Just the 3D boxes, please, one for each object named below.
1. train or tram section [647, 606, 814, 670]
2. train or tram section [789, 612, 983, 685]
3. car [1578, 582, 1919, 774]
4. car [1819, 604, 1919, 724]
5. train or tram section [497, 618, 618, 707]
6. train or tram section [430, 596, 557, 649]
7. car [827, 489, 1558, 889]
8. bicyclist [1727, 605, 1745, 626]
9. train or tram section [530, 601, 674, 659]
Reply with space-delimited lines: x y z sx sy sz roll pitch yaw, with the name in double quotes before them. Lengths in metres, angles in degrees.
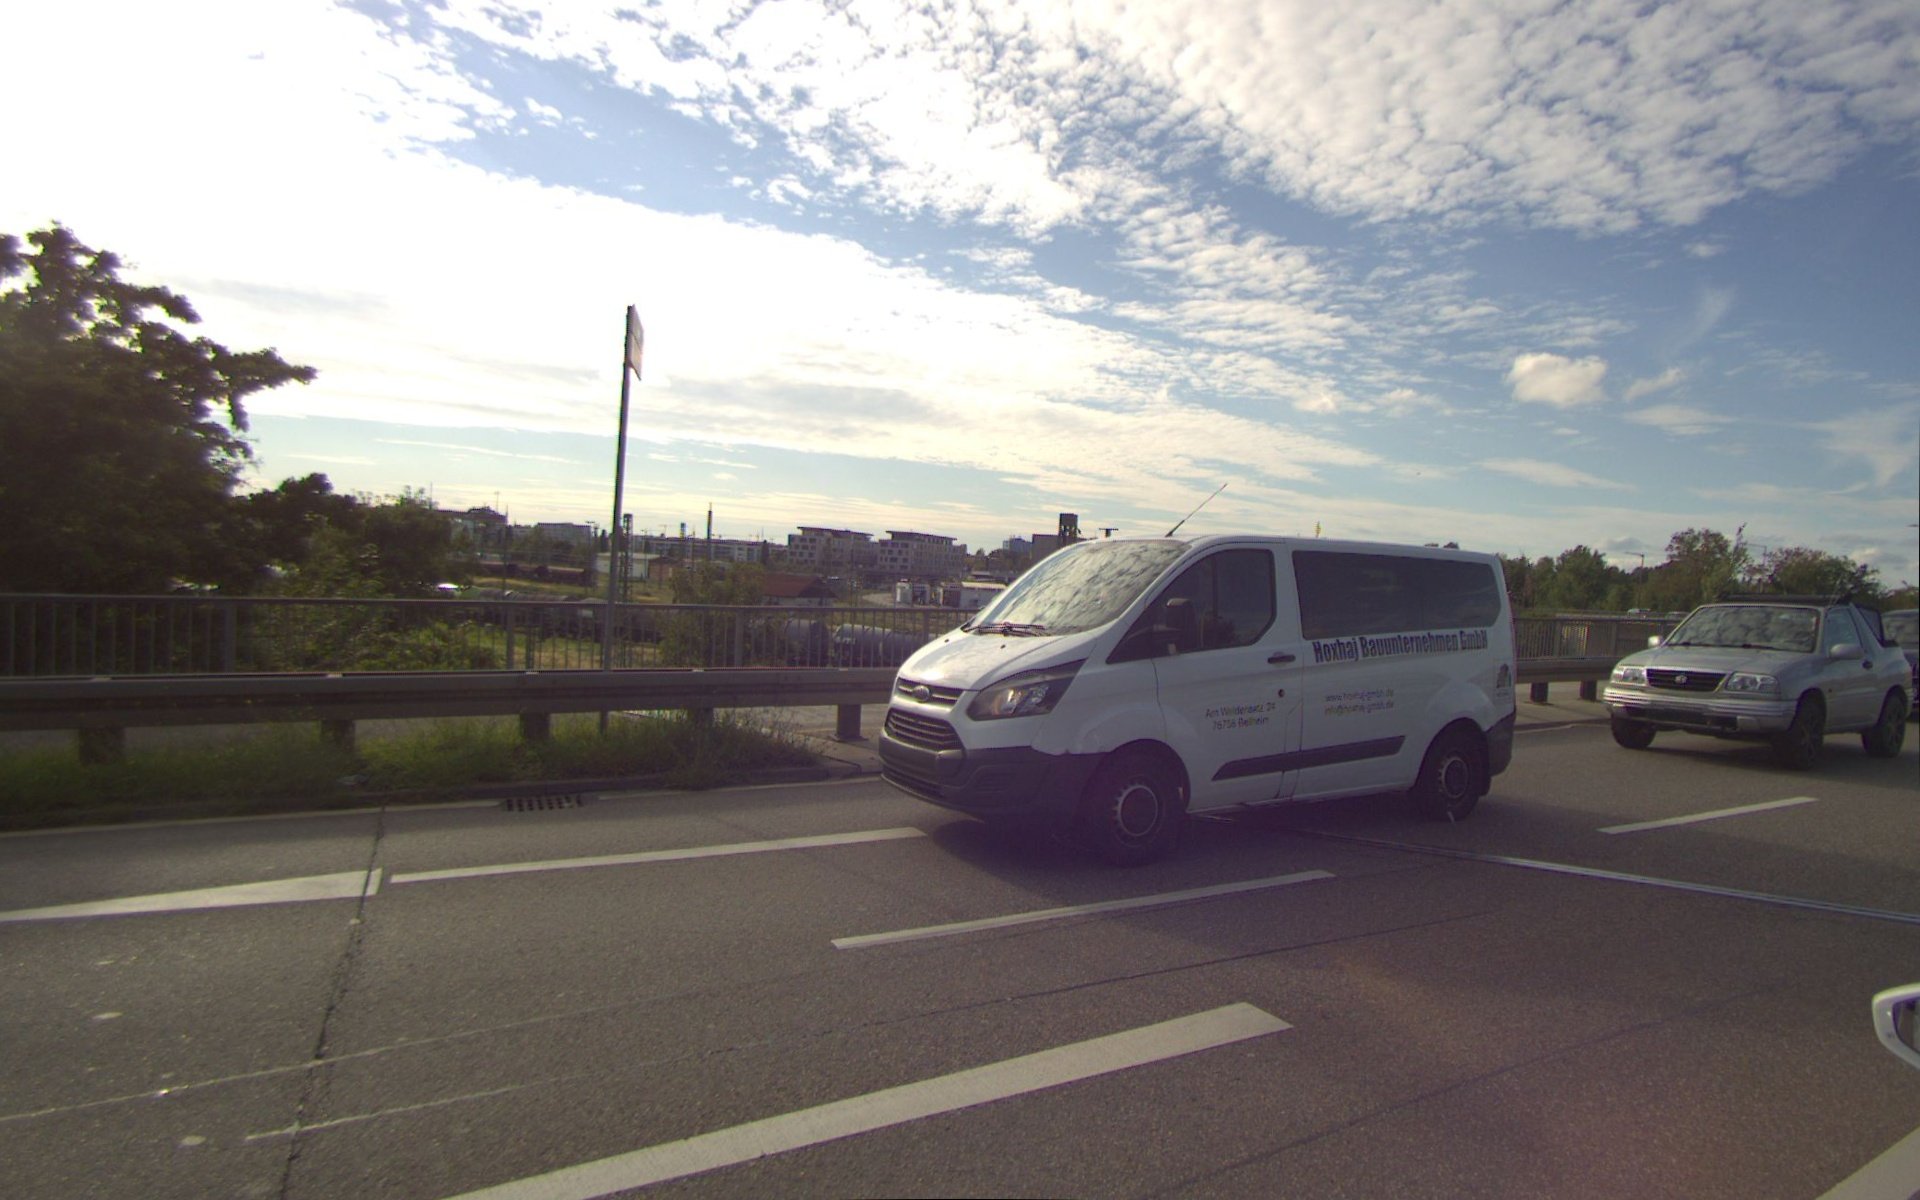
"train or tram section" -20.339 3.171 87.952 16.450 4.775 3.091 2 0 30
"train or tram section" -6.168 3.654 79.744 16.450 4.775 3.091 2 0 30
"car" 8.732 0.737 11.012 3.792 1.769 1.765 1 1 -31
"car" 15.438 0.954 15.866 4.586 1.688 1.856 1 1 -37
"train or tram section" -19.697 2.945 48.962 6.729 3.834 2.045 2 1 35
"train or tram section" -48.782 2.200 104.546 16.450 4.775 3.091 2 0 30
"car" 1.764 0.471 7.087 4.986 1.990 1.976 1 1 -29
"bicyclist" 62.828 1.275 81.344 0.753 1.683 1.120 2 0 16
"train or tram section" -34.524 2.760 96.217 16.450 4.775 3.091 2 0 30
